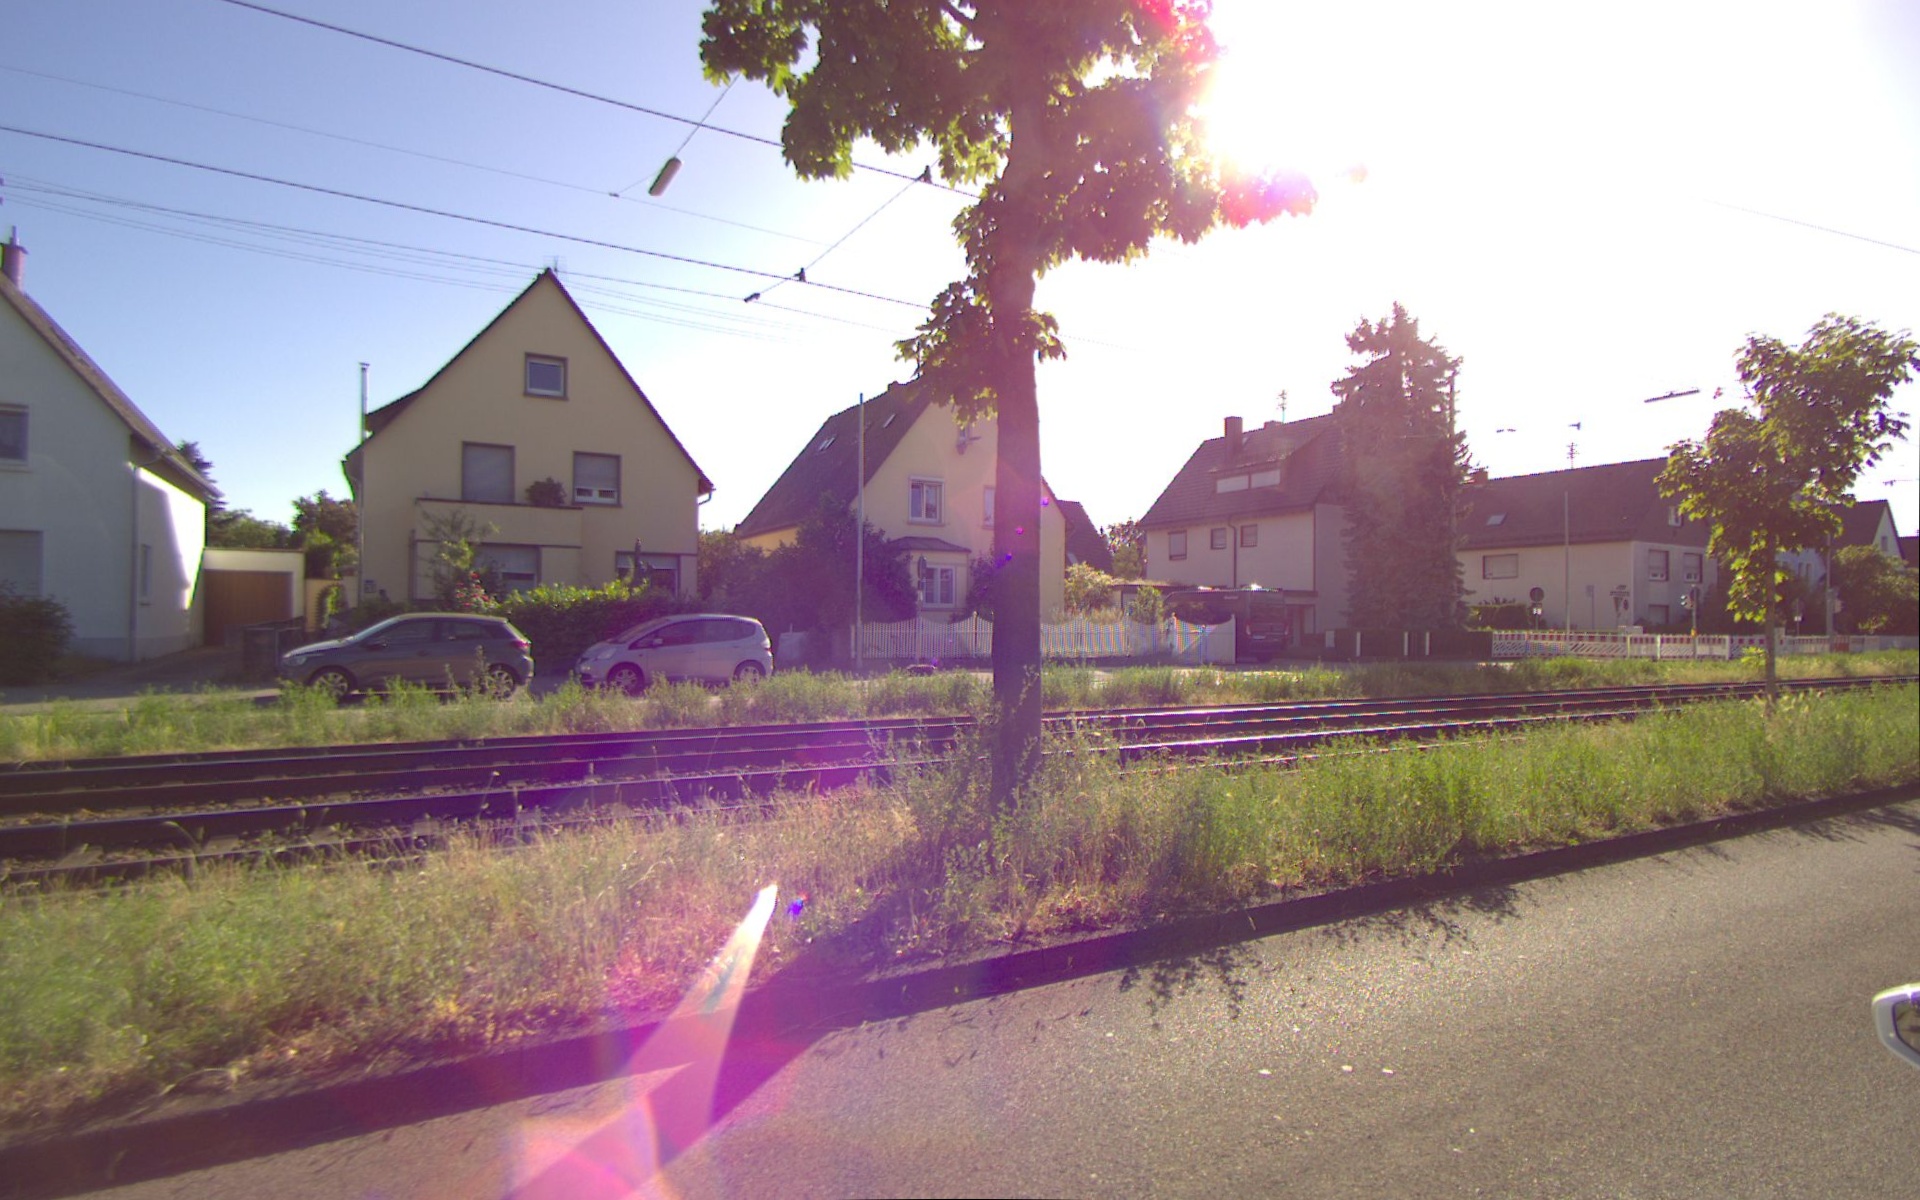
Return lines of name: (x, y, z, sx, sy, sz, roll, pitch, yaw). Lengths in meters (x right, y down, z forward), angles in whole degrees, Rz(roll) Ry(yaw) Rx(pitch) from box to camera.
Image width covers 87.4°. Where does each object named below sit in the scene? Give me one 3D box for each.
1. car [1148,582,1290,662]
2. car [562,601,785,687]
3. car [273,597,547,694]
car: (9.199, 0.771, 36.116, 2.077, 2.660, 5.006, 0, -1, -29)
car: (-5.823, 0.866, 20.460, 4.009, 1.574, 1.937, 2, 0, -30)
car: (-9.773, 0.781, 18.074, 4.080, 1.469, 1.983, 2, 2, -30)
